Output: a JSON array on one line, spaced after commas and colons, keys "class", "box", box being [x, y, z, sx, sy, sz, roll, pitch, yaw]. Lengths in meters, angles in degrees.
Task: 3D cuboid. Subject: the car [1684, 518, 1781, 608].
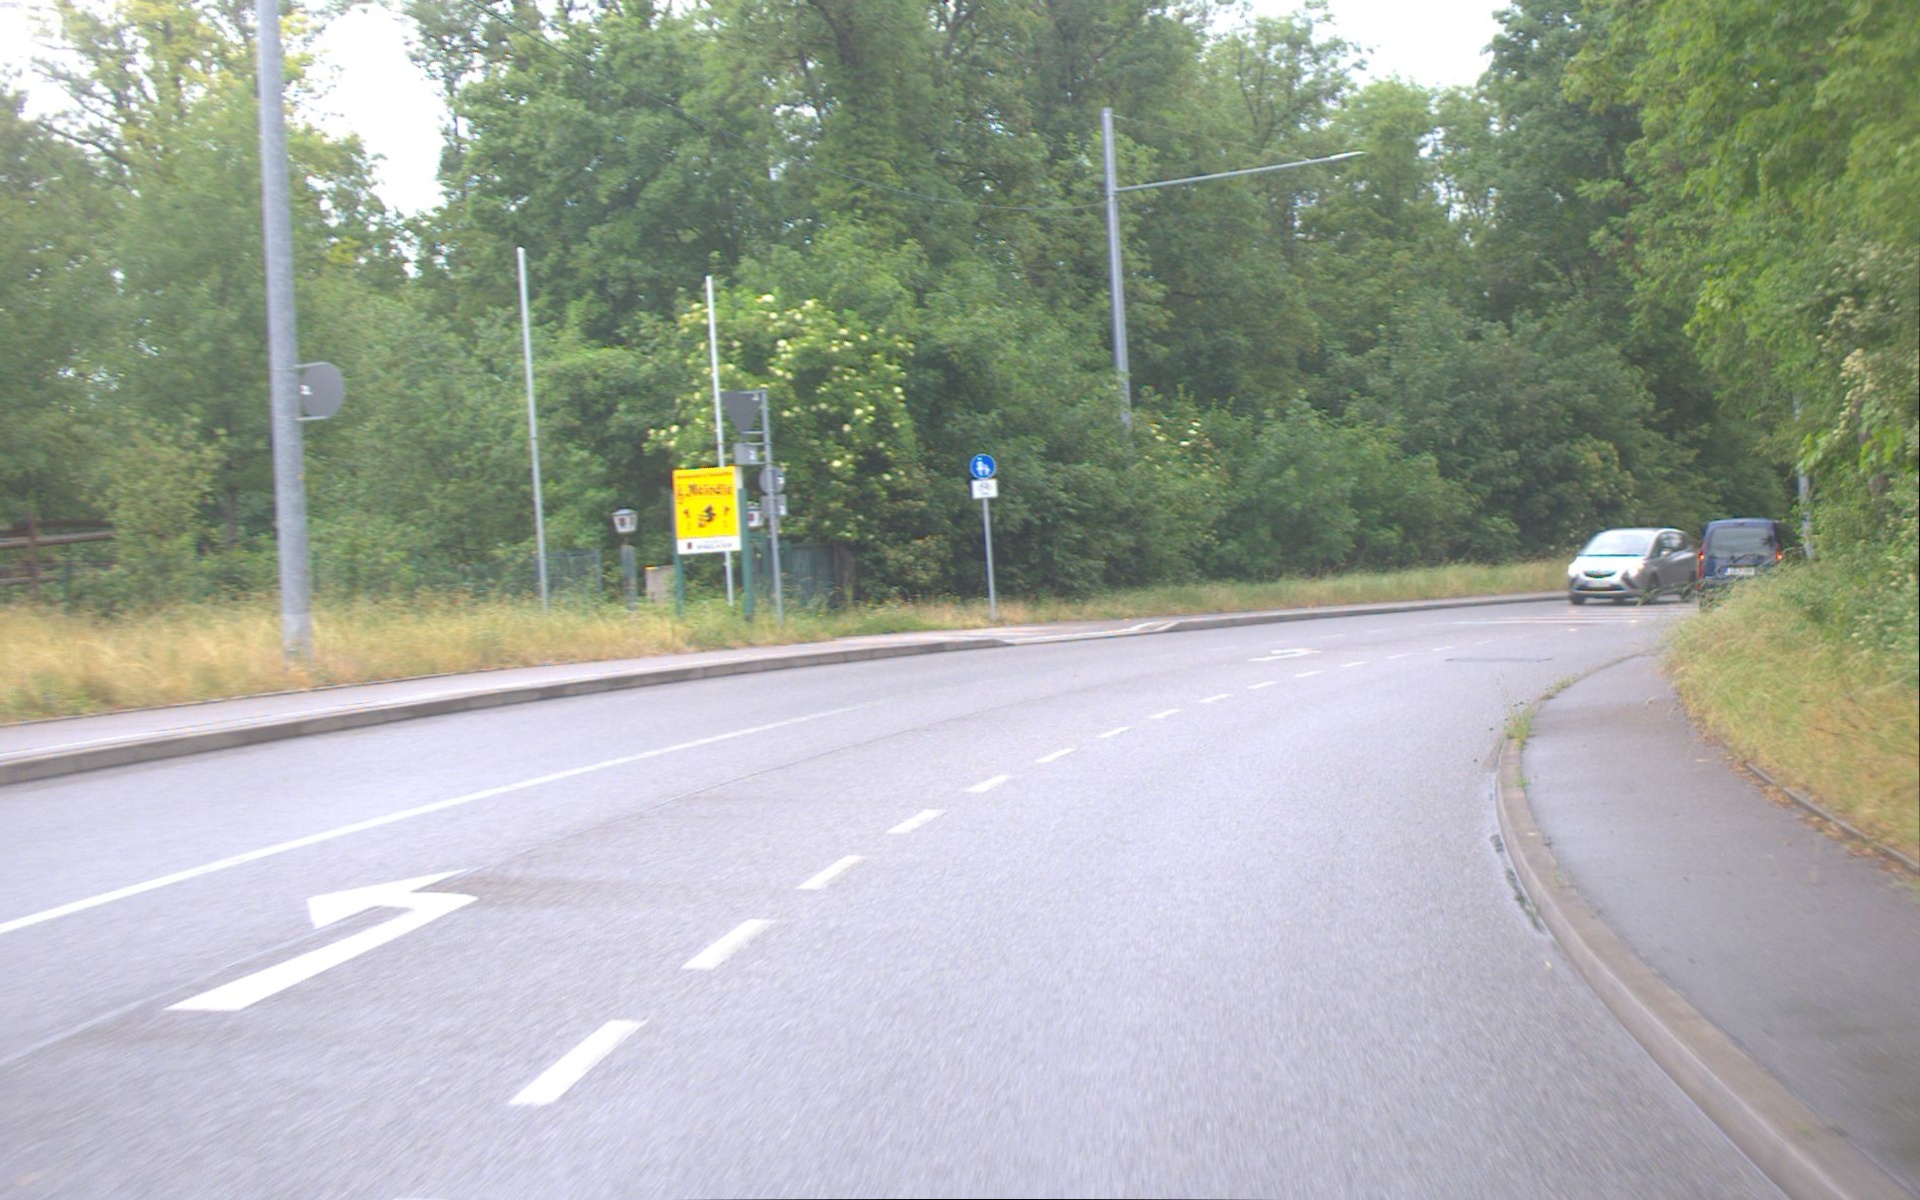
[{"class": "car", "box": [14.181, -0.681, 63.025, 1.668, 1.588, 3.680, 0, 1, 14]}]

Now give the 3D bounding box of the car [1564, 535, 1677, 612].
[{"class": "car", "box": [14.365, -0.588, 74.627, 1.760, 1.609, 4.414, 0, 1, 19]}]
